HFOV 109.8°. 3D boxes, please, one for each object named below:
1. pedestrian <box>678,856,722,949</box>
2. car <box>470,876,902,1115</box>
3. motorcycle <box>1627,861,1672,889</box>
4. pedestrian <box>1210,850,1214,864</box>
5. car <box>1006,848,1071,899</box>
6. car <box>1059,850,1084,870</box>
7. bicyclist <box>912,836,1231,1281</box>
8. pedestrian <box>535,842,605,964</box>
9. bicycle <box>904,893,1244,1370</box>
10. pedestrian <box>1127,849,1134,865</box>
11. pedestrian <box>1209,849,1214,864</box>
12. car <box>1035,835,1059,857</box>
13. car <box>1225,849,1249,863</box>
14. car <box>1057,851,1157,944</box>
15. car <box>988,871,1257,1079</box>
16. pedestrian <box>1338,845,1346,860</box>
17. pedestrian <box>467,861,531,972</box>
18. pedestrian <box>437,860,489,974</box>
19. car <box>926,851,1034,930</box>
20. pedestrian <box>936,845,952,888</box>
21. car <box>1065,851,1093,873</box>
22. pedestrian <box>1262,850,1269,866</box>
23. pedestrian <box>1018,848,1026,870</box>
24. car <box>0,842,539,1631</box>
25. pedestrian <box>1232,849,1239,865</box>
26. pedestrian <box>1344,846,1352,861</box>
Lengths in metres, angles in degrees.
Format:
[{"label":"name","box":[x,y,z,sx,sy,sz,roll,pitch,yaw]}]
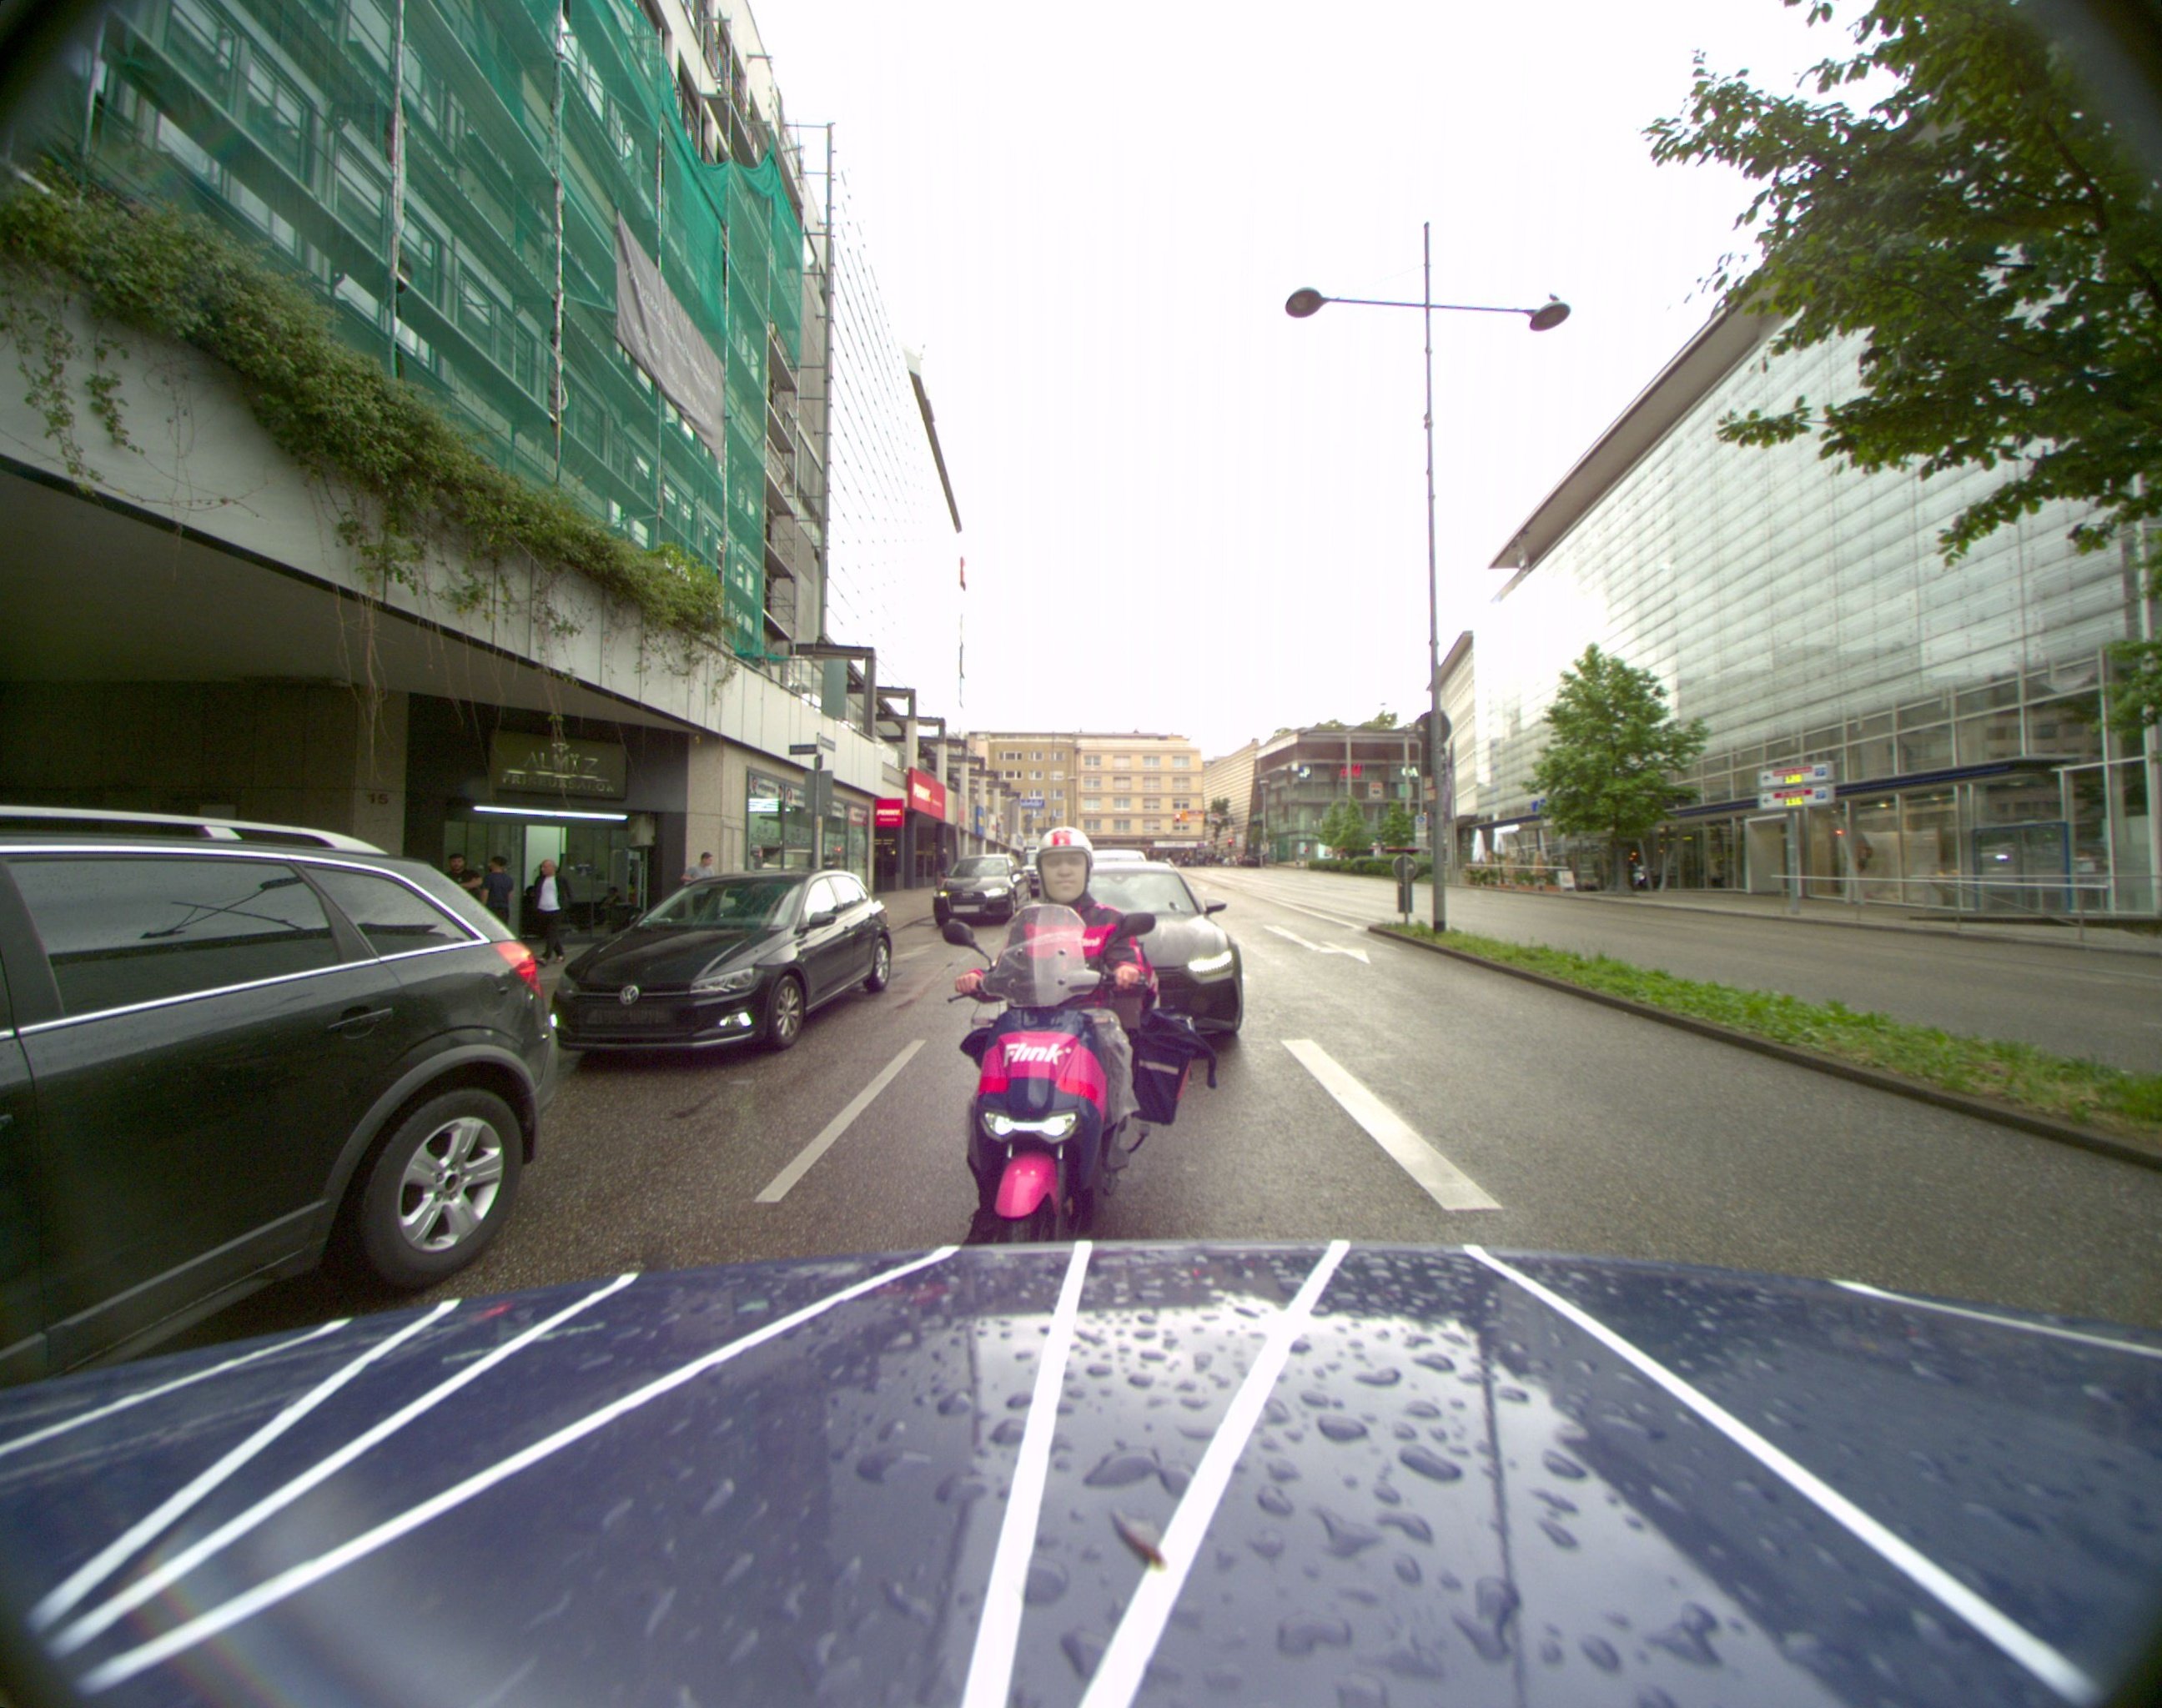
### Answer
[{"label":"pedestrian","box":[-7.030,0.865,14.031,0.640,1.633,0.732,-3,2,-27]},{"label":"car","box":[-3.181,1.026,7.238,1.759,1.495,4.165,-2,-1,2]},{"label":"motorcycle","box":[27.946,1.030,37.382,1.707,1.319,0.620,0,1,1]},{"label":"pedestrian","box":[15.041,0.373,87.191,0.428,1.620,0.602,1,1,3]},{"label":"car","box":[-1.494,0.686,28.336,1.988,1.696,4.165,-2,-1,2]},{"label":"car","box":[-0.867,0.574,69.803,1.988,1.696,4.165,-2,-1,2]},{"label":"bicyclist","box":[-0.026,0.713,3.067,1.063,1.534,0.825,-2,2,0]},{"label":"pedestrian","box":[-7.945,0.728,11.814,0.771,1.805,0.745,2,2,44]},{"label":"bicycle","box":[-0.005,0.964,3.882,1.034,1.279,2.948,-2,1,1]},{"label":"pedestrian","box":[5.238,0.300,79.975,0.634,1.620,0.602,0,1,-1]},{"label":"pedestrian","box":[14.552,0.242,84.691,0.428,1.620,0.602,1,1,5]},{"label":"car","box":[-3.085,-0.758,69.698,1.605,2.002,3.400,-2,1,7]},{"label":"car","box":[23.087,0.232,112.407,1.994,2.002,4.597,1,1,31]},{"label":"car","box":[0.540,0.747,15.232,1.675,1.520,4.164,-2,1,2]},{"label":"car","box":[0.383,0.925,7.553,1.890,1.391,4.165,-2,-1,2]},{"label":"pedestrian","box":[27.968,-0.159,81.394,0.633,1.620,0.602,0,1,2]},{"label":"pedestrian","box":[-8.749,0.908,11.445,0.640,1.586,0.576,-3,2,-32]},{"label":"pedestrian","box":[-9.558,0.949,11.755,0.466,1.698,0.484,0,2,42]},{"label":"car","box":[-2.281,0.777,18.333,1.841,1.598,4.164,-2,1,2]},{"label":"pedestrian","box":[-5.418,0.491,30.119,0.510,1.669,0.579,0,2,0]},{"label":"car","box":[-0.106,0.641,61.016,1.988,1.696,4.165,-2,-1,2]},{"label":"pedestrian","box":[20.715,0.485,85.502,0.626,1.764,0.689,-2,2,5]},{"label":"pedestrian","box":[-3.941,0.348,50.994,0.510,1.492,0.579,0,2,0]},{"label":"car","box":[-3.322,0.874,1.243,1.764,1.755,4.164,-2,-1,1]},{"label":"pedestrian","box":[17.272,0.339,85.014,0.626,1.764,0.689,-2,2,7]},{"label":"pedestrian","box":[28.214,-0.054,80.417,0.633,1.620,0.602,1,1,4]}]
